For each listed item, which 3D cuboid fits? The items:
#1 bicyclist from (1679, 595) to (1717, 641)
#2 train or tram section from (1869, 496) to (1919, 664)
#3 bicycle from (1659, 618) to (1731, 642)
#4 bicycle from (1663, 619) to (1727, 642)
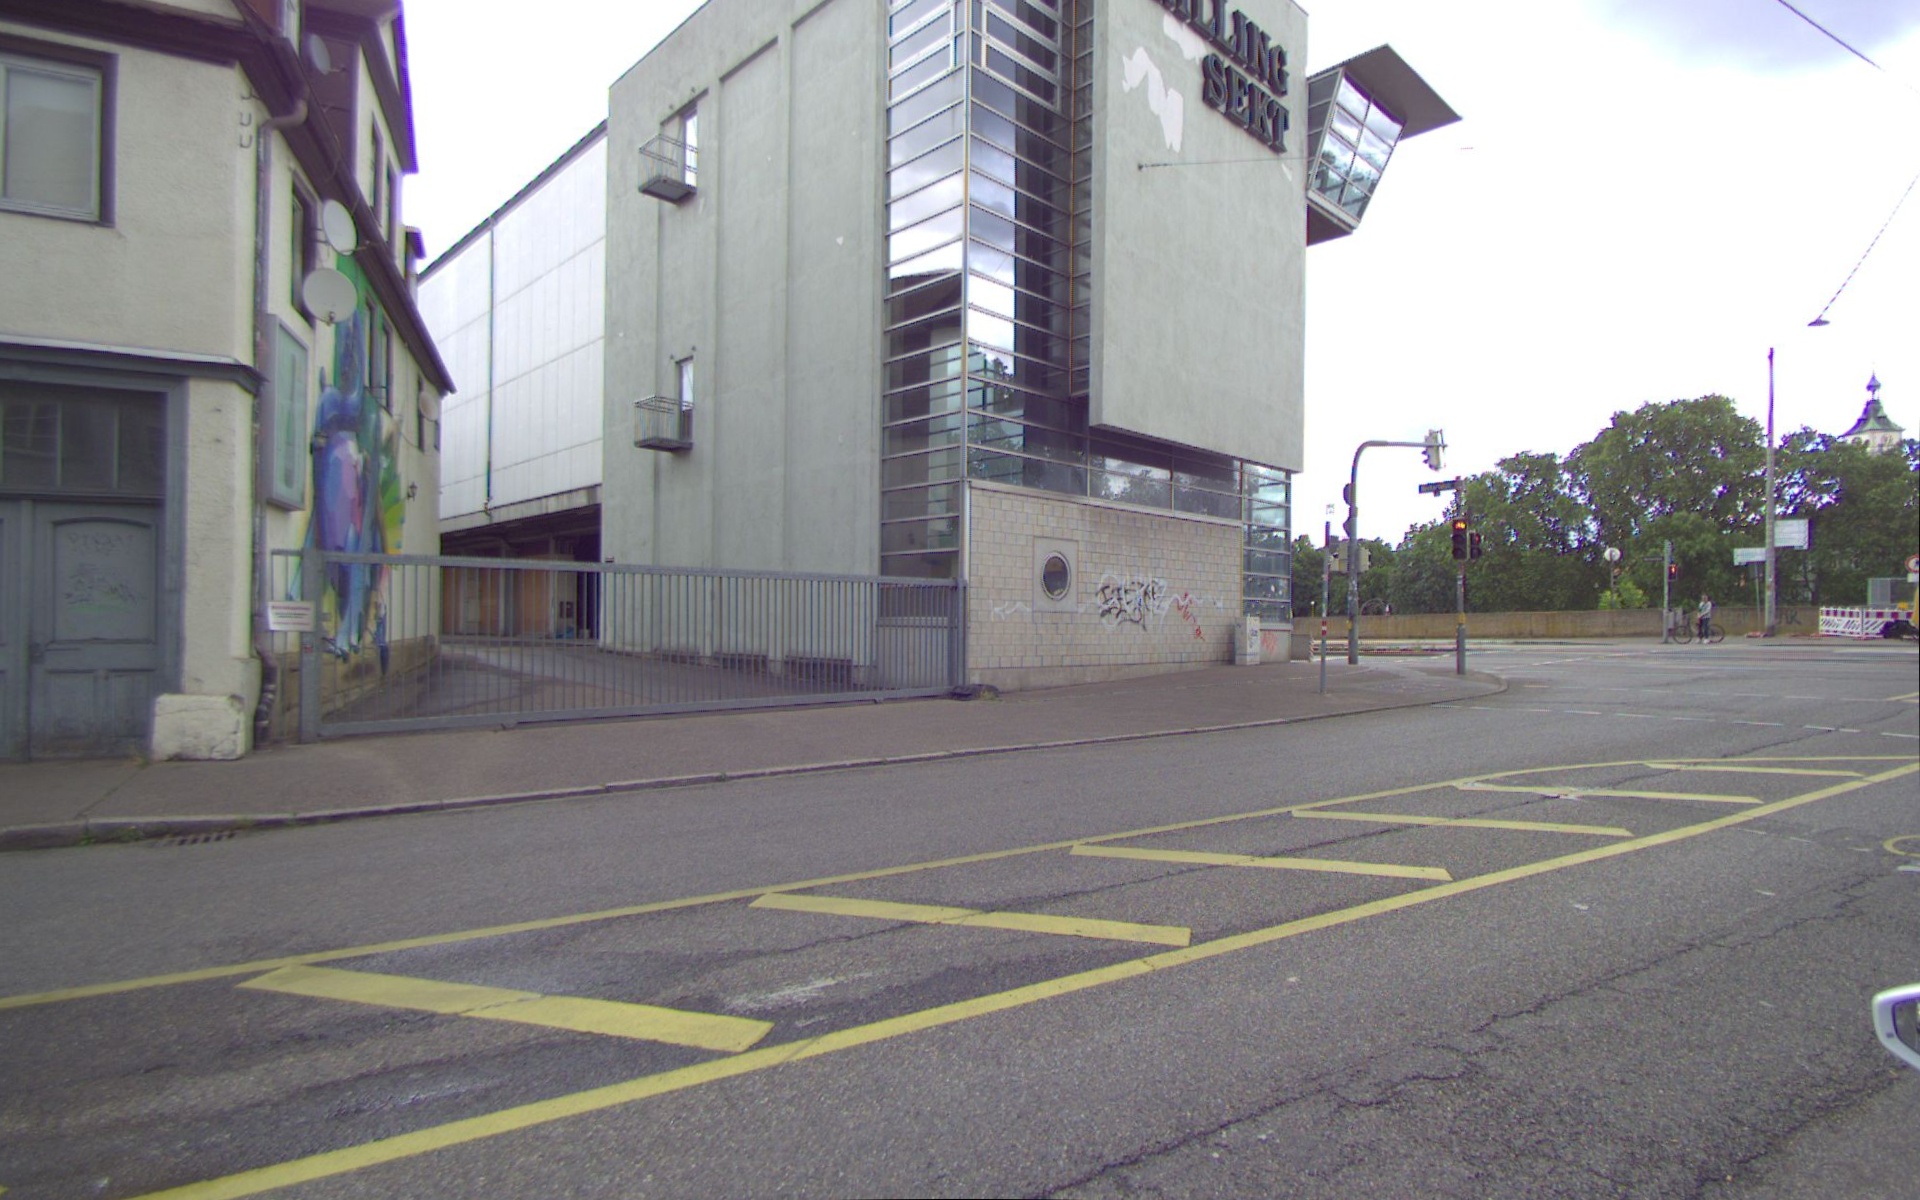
[{"bbox_3d":[28.600,0.702,38.931,0.985,1.767,0.755,0,0,20],"label":"bicyclist"},{"bbox_3d":[29.549,-0.773,18.216,3.276,4.056,19.097,-2,-1,-35],"label":"train or tram section"},{"bbox_3d":[28.498,1.151,38.982,2.096,0.904,0.760,-1,0,21],"label":"bicycle"},{"bbox_3d":[28.444,1.174,38.878,1.912,0.878,0.560,0,-1,17],"label":"bicycle"}]
